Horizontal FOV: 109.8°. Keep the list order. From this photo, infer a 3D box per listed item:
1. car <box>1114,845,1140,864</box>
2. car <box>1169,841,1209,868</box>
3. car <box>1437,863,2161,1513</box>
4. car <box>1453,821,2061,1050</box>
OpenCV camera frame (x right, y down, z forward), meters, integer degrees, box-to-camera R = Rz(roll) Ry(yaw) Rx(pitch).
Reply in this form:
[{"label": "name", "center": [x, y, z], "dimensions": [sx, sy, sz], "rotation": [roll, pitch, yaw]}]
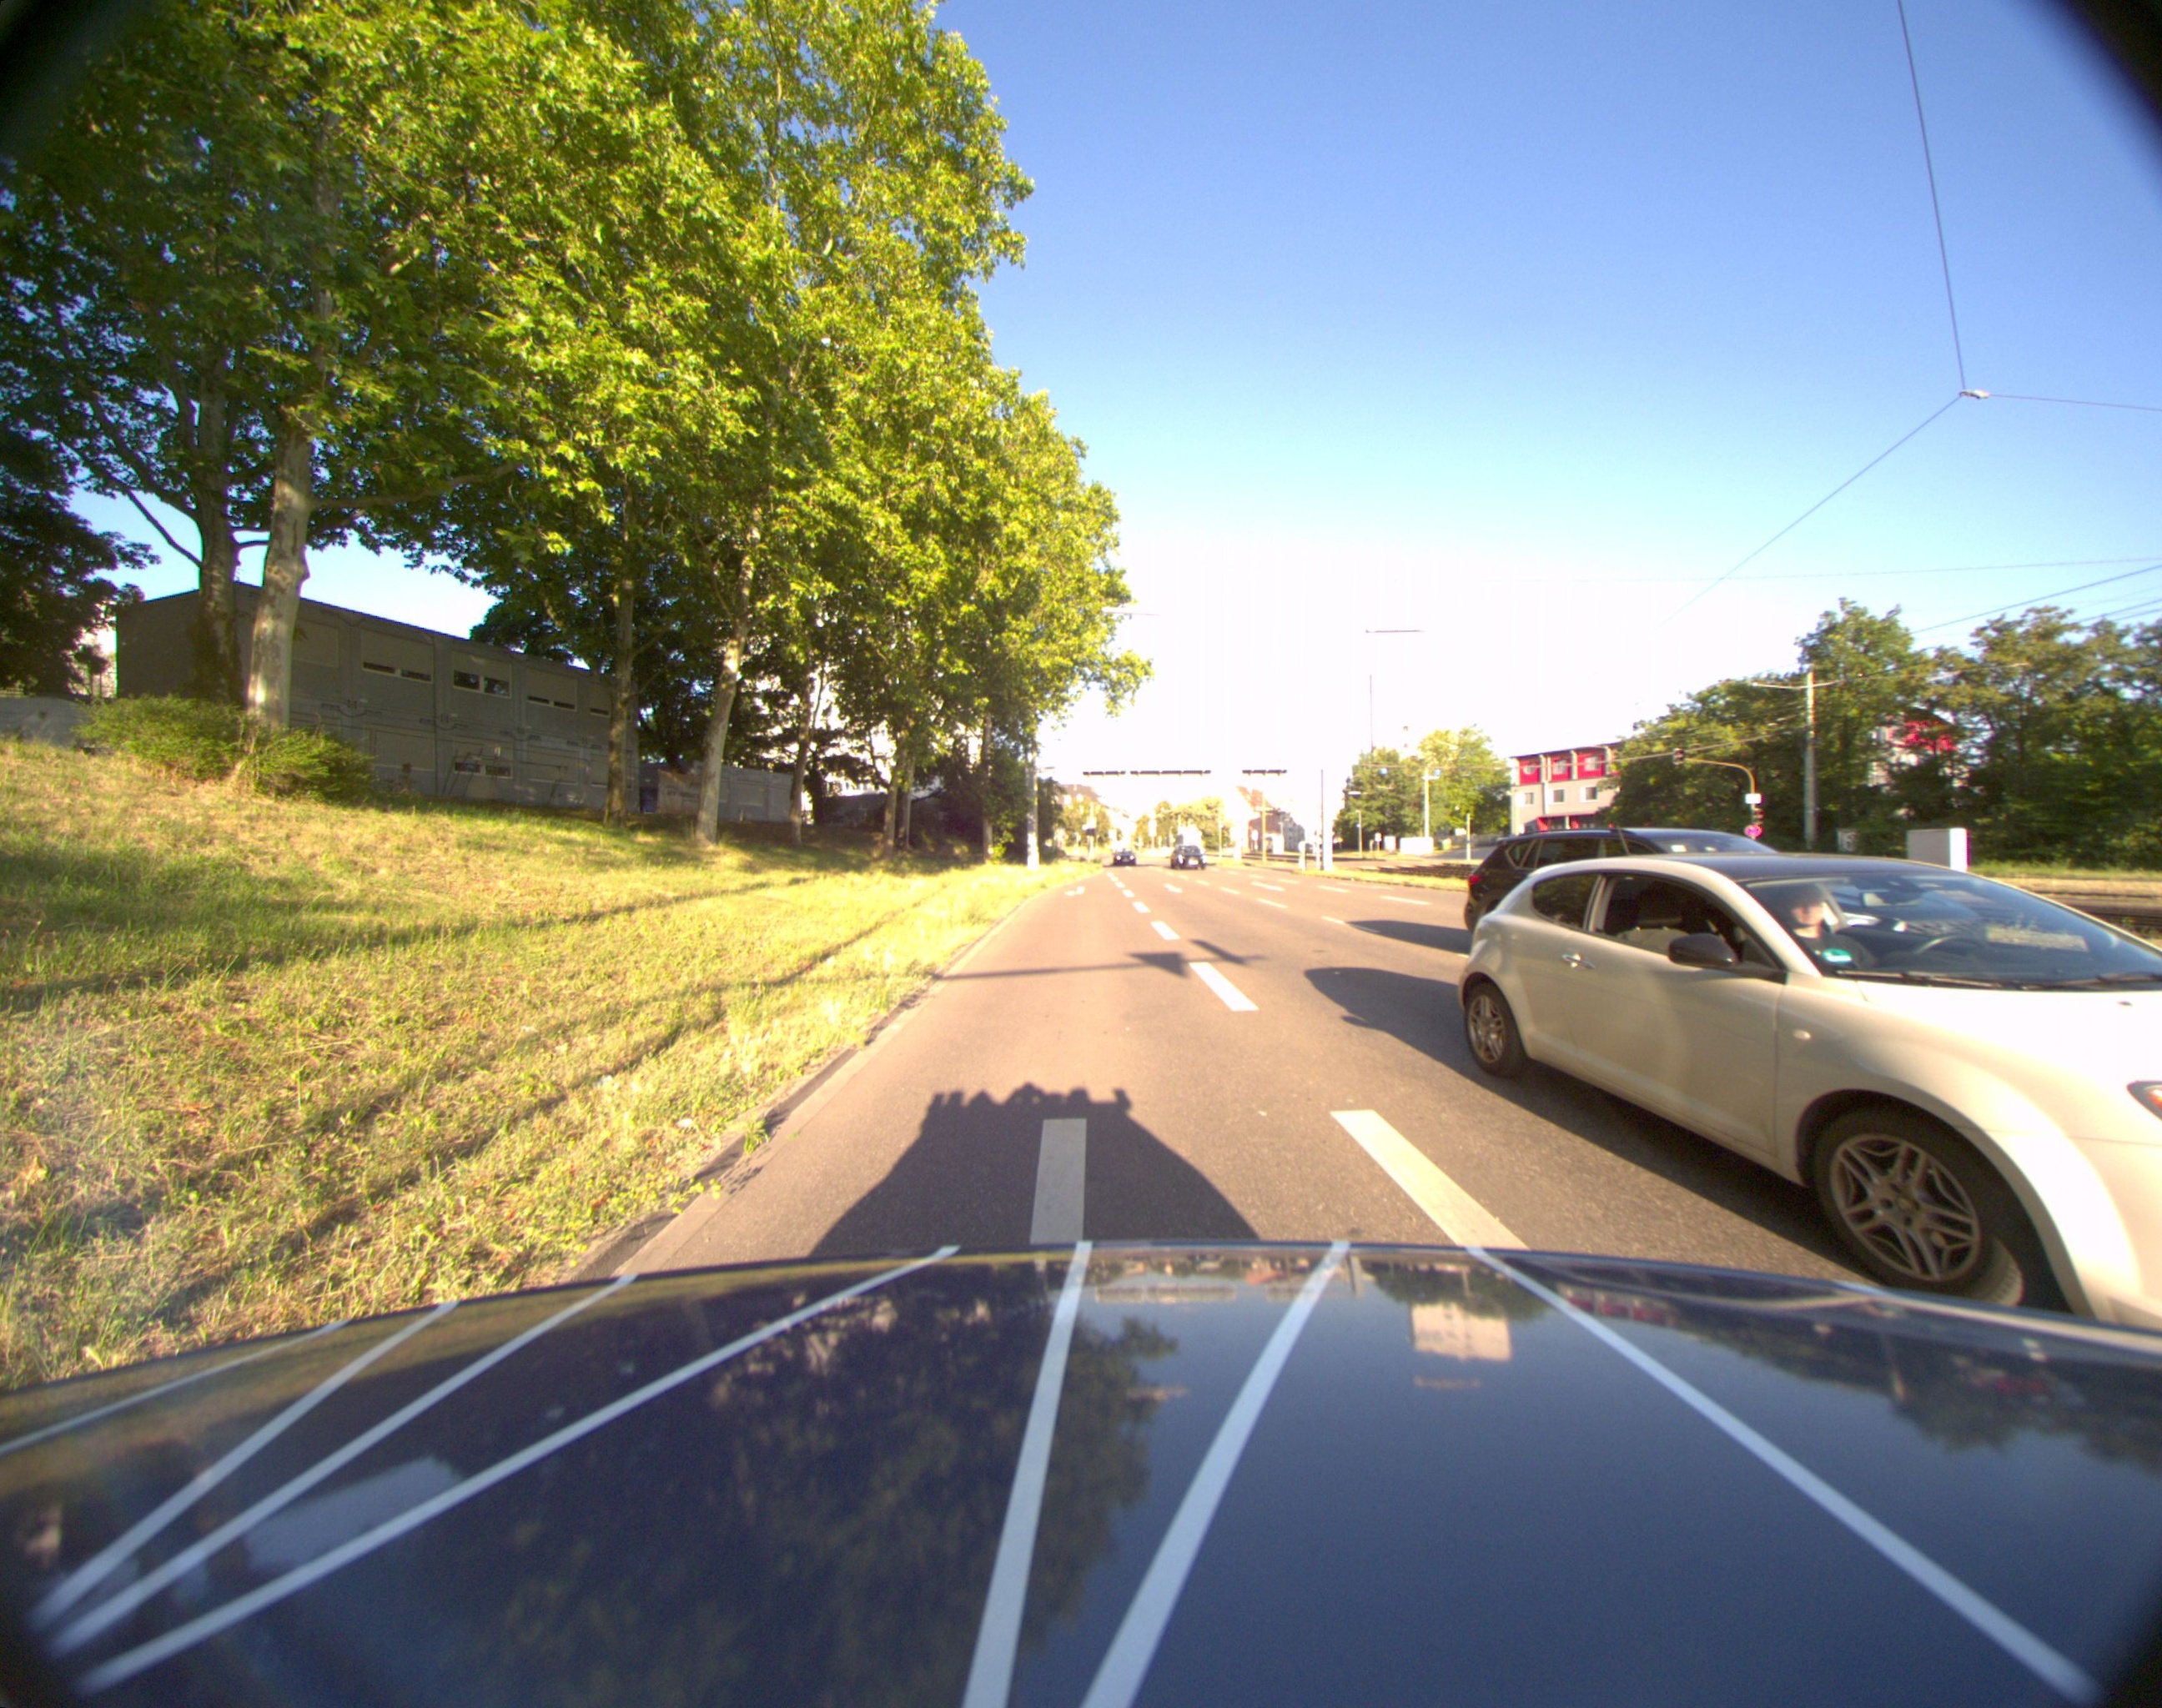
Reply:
[{"label": "car", "center": [3.631, 0.003, 60.903], "dimensions": [1.741, 1.429, 3.999], "rotation": [-2, 1, -1]}, {"label": "car", "center": [7.037, 0.037, 49.875], "dimensions": [1.906, 1.652, 4.275], "rotation": [-1, 0, -2]}, {"label": "car", "center": [3.453, 0.828, 3.464], "dimensions": [1.741, 1.496, 3.999], "rotation": [-1, 0, -1]}, {"label": "car", "center": [6.389, 0.596, 8.087], "dimensions": [1.820, 1.670, 4.618], "rotation": [-2, 0, -14]}]
